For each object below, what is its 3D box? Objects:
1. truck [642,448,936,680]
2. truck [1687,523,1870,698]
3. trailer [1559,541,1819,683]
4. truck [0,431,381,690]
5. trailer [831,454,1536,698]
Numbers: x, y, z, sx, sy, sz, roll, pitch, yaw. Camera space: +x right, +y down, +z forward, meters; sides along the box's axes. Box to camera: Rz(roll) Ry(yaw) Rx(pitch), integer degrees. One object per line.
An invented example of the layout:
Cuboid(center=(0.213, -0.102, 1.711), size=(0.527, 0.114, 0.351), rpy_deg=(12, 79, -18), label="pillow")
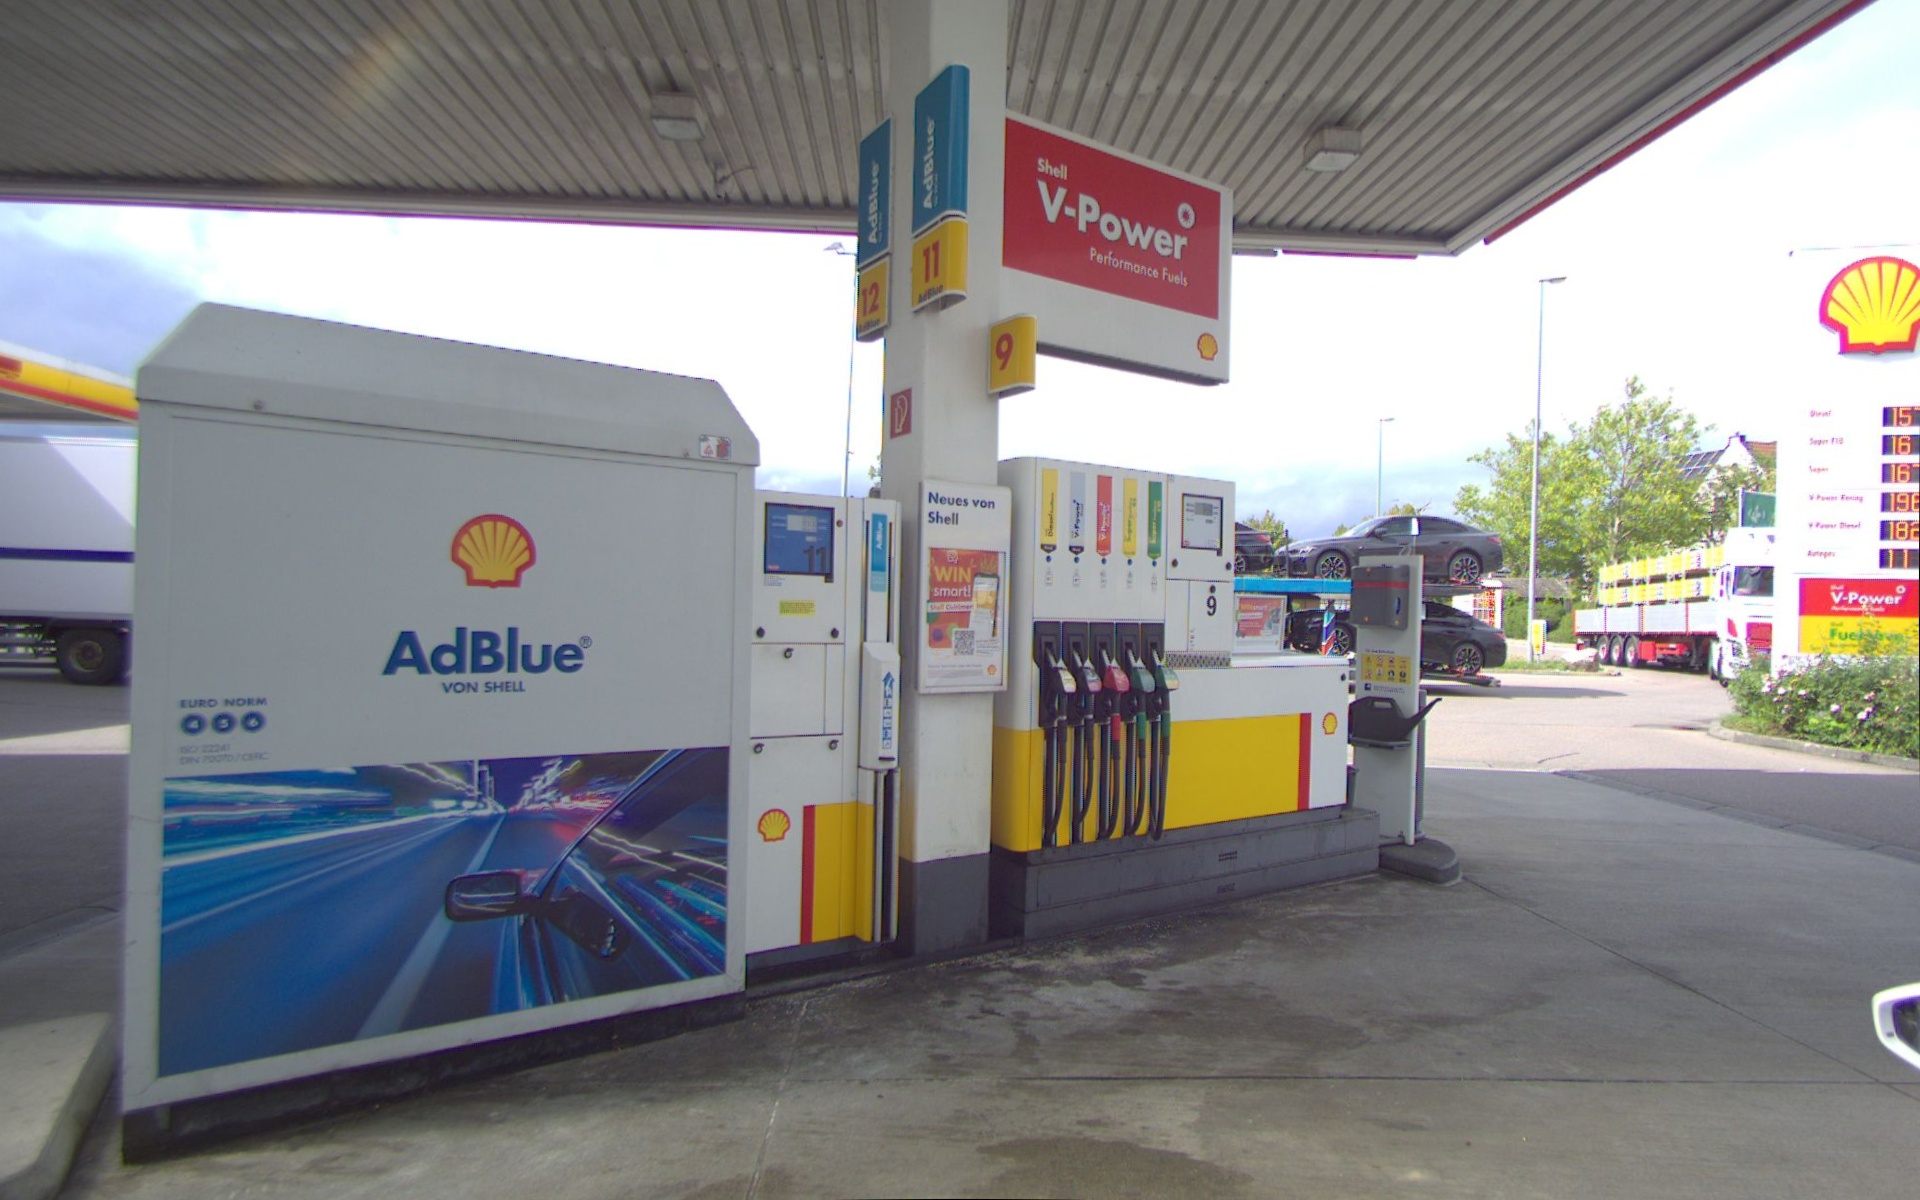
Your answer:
Cuboid(center=(-3.465, -0.712, 21.547), size=(5.713, 4.479, 2.750), rpy_deg=(2, 0, 0), label="truck")
Cuboid(center=(20.601, 0.257, 25.638), size=(2.693, 3.897, 5.906), rpy_deg=(2, 0, 31), label="truck")
Cuboid(center=(23.632, 0.390, 33.721), size=(2.684, 3.826, 12.718), rpy_deg=(2, 0, 15), label="trailer")
Cuboid(center=(-17.316, -0.747, 17.501), size=(12.654, 4.092, 2.534), rpy_deg=(2, 0, -3), label="truck")
Cuboid(center=(4.511, -0.475, 21.586), size=(14.077, 4.481, 2.746), rpy_deg=(2, 0, 0), label="trailer")
